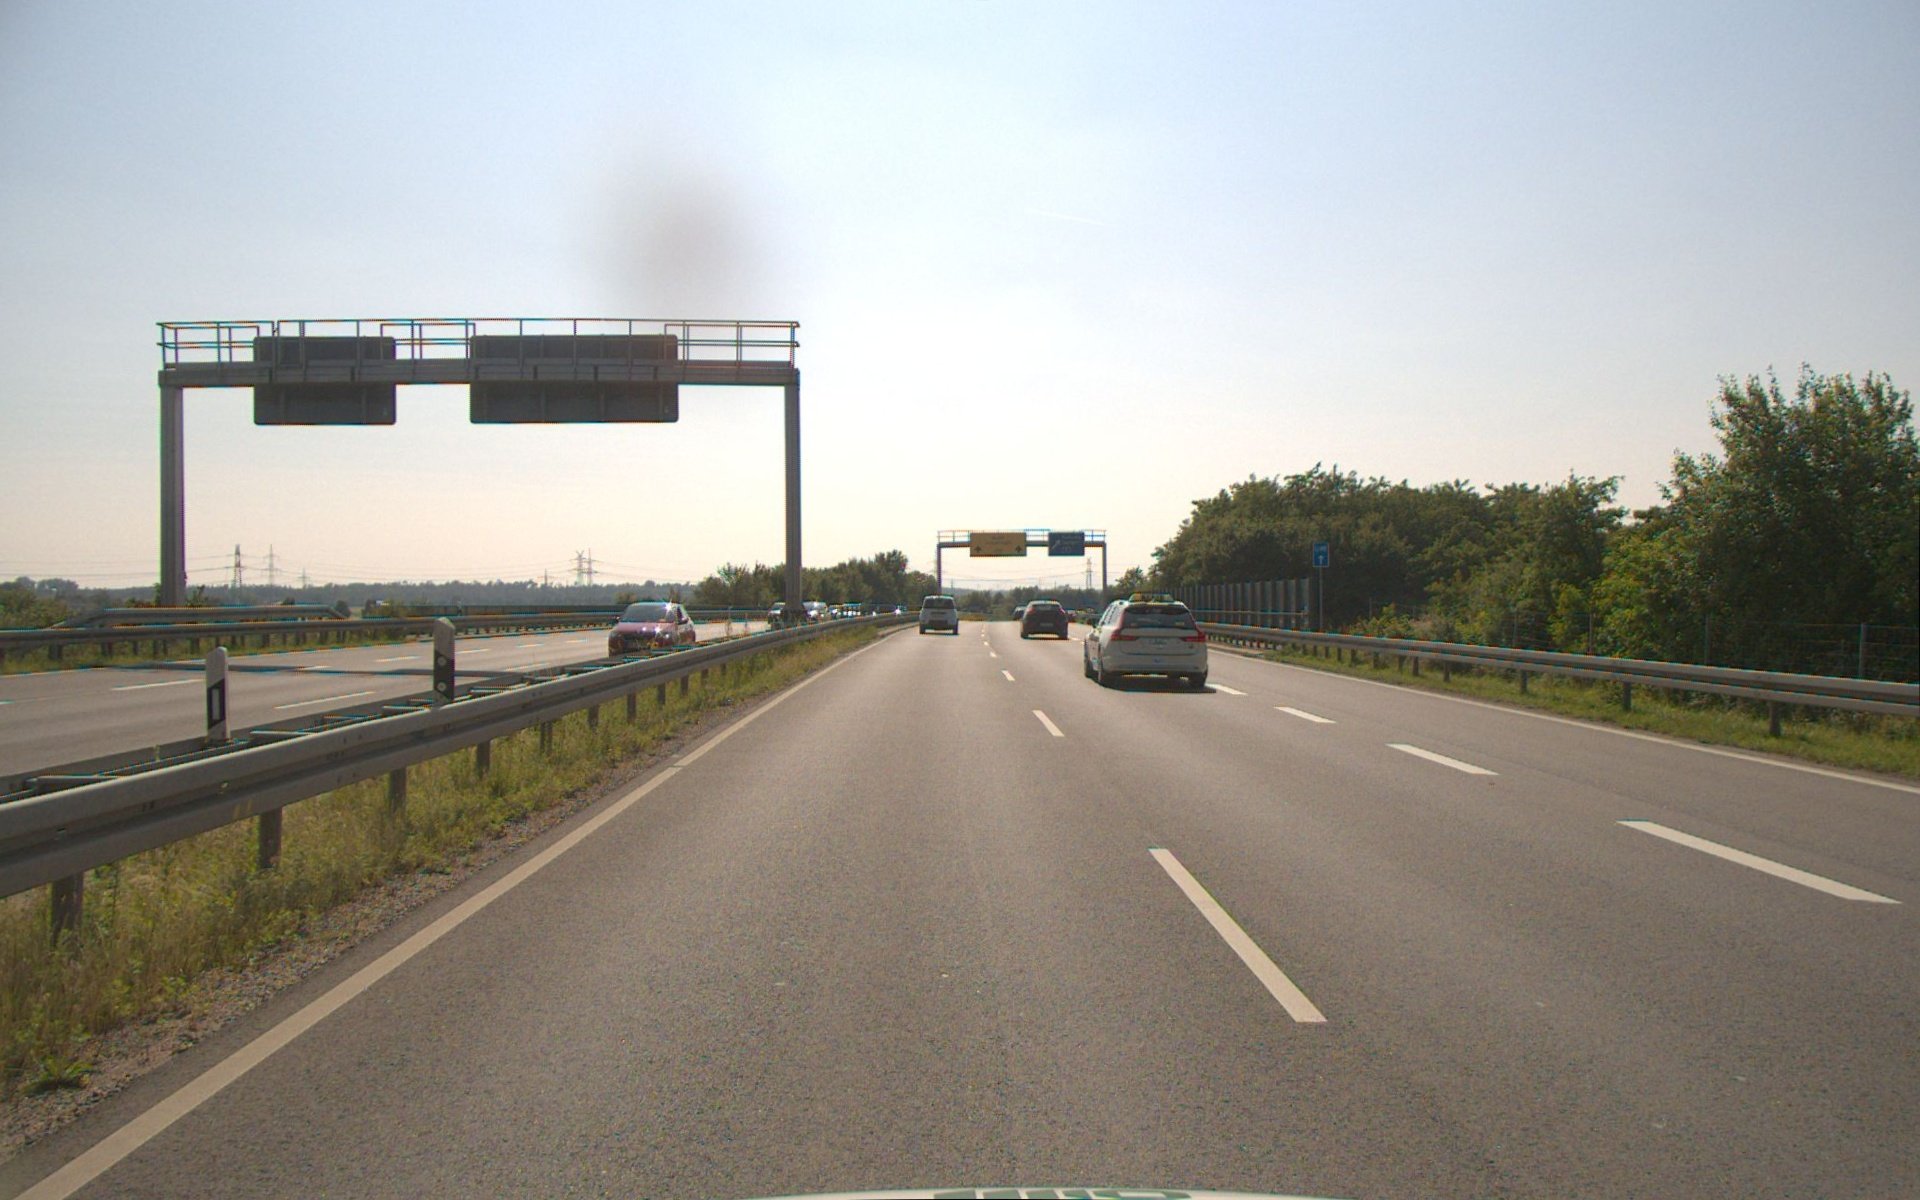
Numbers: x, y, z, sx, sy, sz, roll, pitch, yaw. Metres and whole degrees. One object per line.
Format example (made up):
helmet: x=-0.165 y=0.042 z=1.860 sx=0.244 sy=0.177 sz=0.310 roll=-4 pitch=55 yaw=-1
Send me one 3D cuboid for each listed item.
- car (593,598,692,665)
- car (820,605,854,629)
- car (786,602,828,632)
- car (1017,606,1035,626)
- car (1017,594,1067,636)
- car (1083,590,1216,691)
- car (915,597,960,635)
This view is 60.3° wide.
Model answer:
car: x=-7.753 y=0.739 z=40.725 sx=1.676 sy=1.512 sz=4.264 roll=1 pitch=0 yaw=-1
car: x=-7.867 y=1.081 z=106.282 sx=1.835 sy=1.463 sz=4.501 roll=1 pitch=0 yaw=-1
car: x=-8.133 y=0.900 z=88.325 sx=1.758 sy=1.499 sz=4.001 roll=1 pitch=0 yaw=1
car: x=7.159 y=1.717 z=179.177 sx=1.952 sy=2.049 sz=4.001 roll=1 pitch=0 yaw=2
car: x=3.160 y=0.596 z=64.158 sx=1.756 sy=1.570 sz=3.671 roll=1 pitch=-1 yaw=0
car: x=3.296 y=0.672 z=29.522 sx=1.918 sy=1.629 sz=4.107 roll=1 pitch=0 yaw=0
car: x=-0.935 y=0.683 z=69.680 sx=1.756 sy=1.529 sz=4.043 roll=0 pitch=-1 yaw=1
